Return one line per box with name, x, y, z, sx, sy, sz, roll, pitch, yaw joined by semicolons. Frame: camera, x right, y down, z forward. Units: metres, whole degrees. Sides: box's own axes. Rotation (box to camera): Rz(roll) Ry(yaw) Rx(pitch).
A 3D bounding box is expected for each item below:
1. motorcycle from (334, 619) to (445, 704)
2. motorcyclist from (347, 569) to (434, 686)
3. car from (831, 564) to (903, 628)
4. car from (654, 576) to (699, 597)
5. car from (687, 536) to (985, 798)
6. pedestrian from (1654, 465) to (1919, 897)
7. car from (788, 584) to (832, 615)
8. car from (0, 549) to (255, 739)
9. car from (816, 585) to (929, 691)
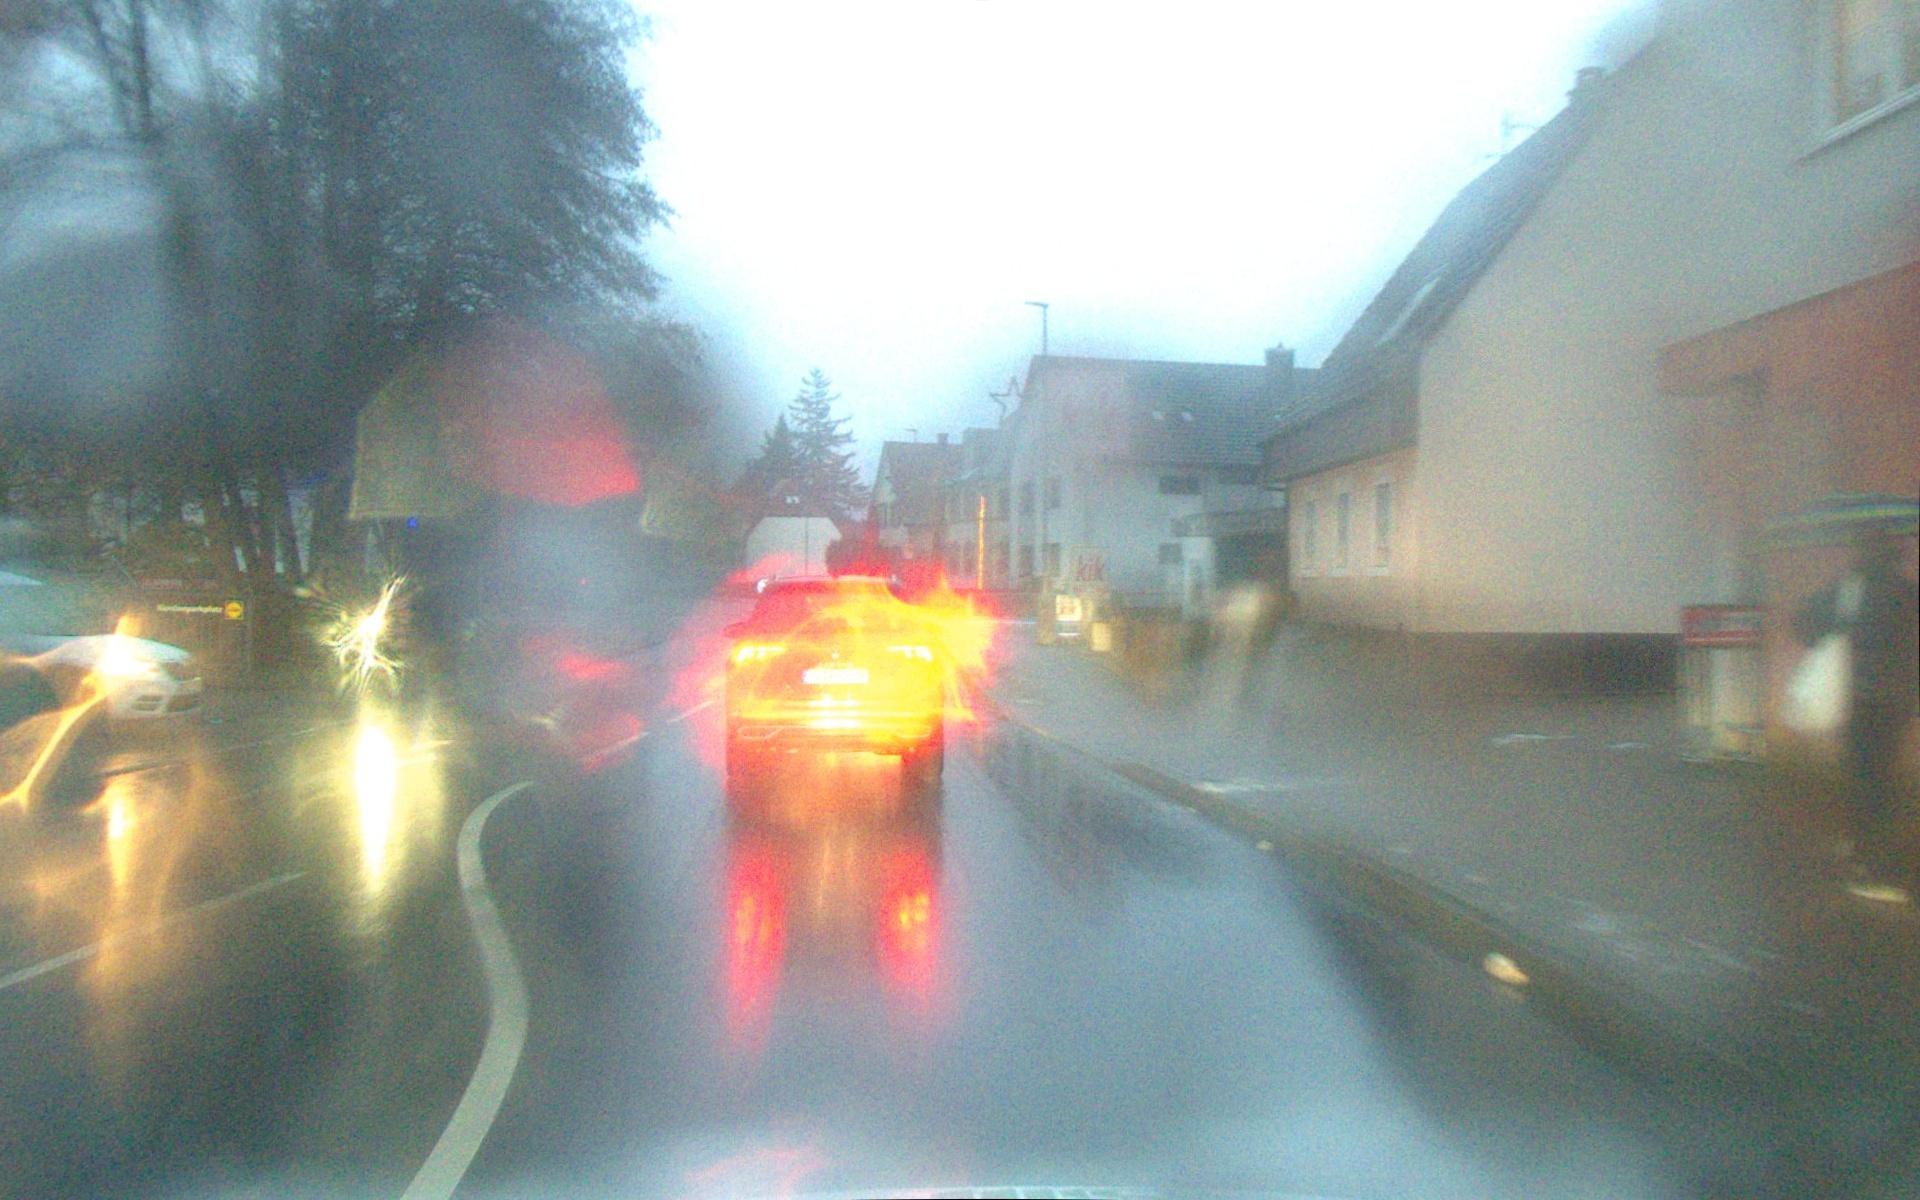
motorcycle;-7.610;0.800;22.170;0.848;1.042;2.108;1;0;-4
motorcyclist;-7.589;0.363;22.078;0.848;1.511;0.908;1;0;-4
car;-3.054;-0.131;53.966;2.264;1.972;5.014;0;0;-4
car;-27.544;-1.294;160.725;4.178;2.049;1.803;0;1;-17
car;-1.149;0.499;15.073;2.264;1.972;5.013;0;0;-5
pedestrian;4.245;0.346;7.967;1.229;1.898;1.303;-1;0;0
car;-6.889;-0.059;75.775;1.808;1.355;3.930;0;1;-9
car;-9.713;0.355;16.866;4.143;1.729;1.898;3;0;-4
car;-1.573;0.606;29.141;1.821;1.676;3.997;1;1;-4
